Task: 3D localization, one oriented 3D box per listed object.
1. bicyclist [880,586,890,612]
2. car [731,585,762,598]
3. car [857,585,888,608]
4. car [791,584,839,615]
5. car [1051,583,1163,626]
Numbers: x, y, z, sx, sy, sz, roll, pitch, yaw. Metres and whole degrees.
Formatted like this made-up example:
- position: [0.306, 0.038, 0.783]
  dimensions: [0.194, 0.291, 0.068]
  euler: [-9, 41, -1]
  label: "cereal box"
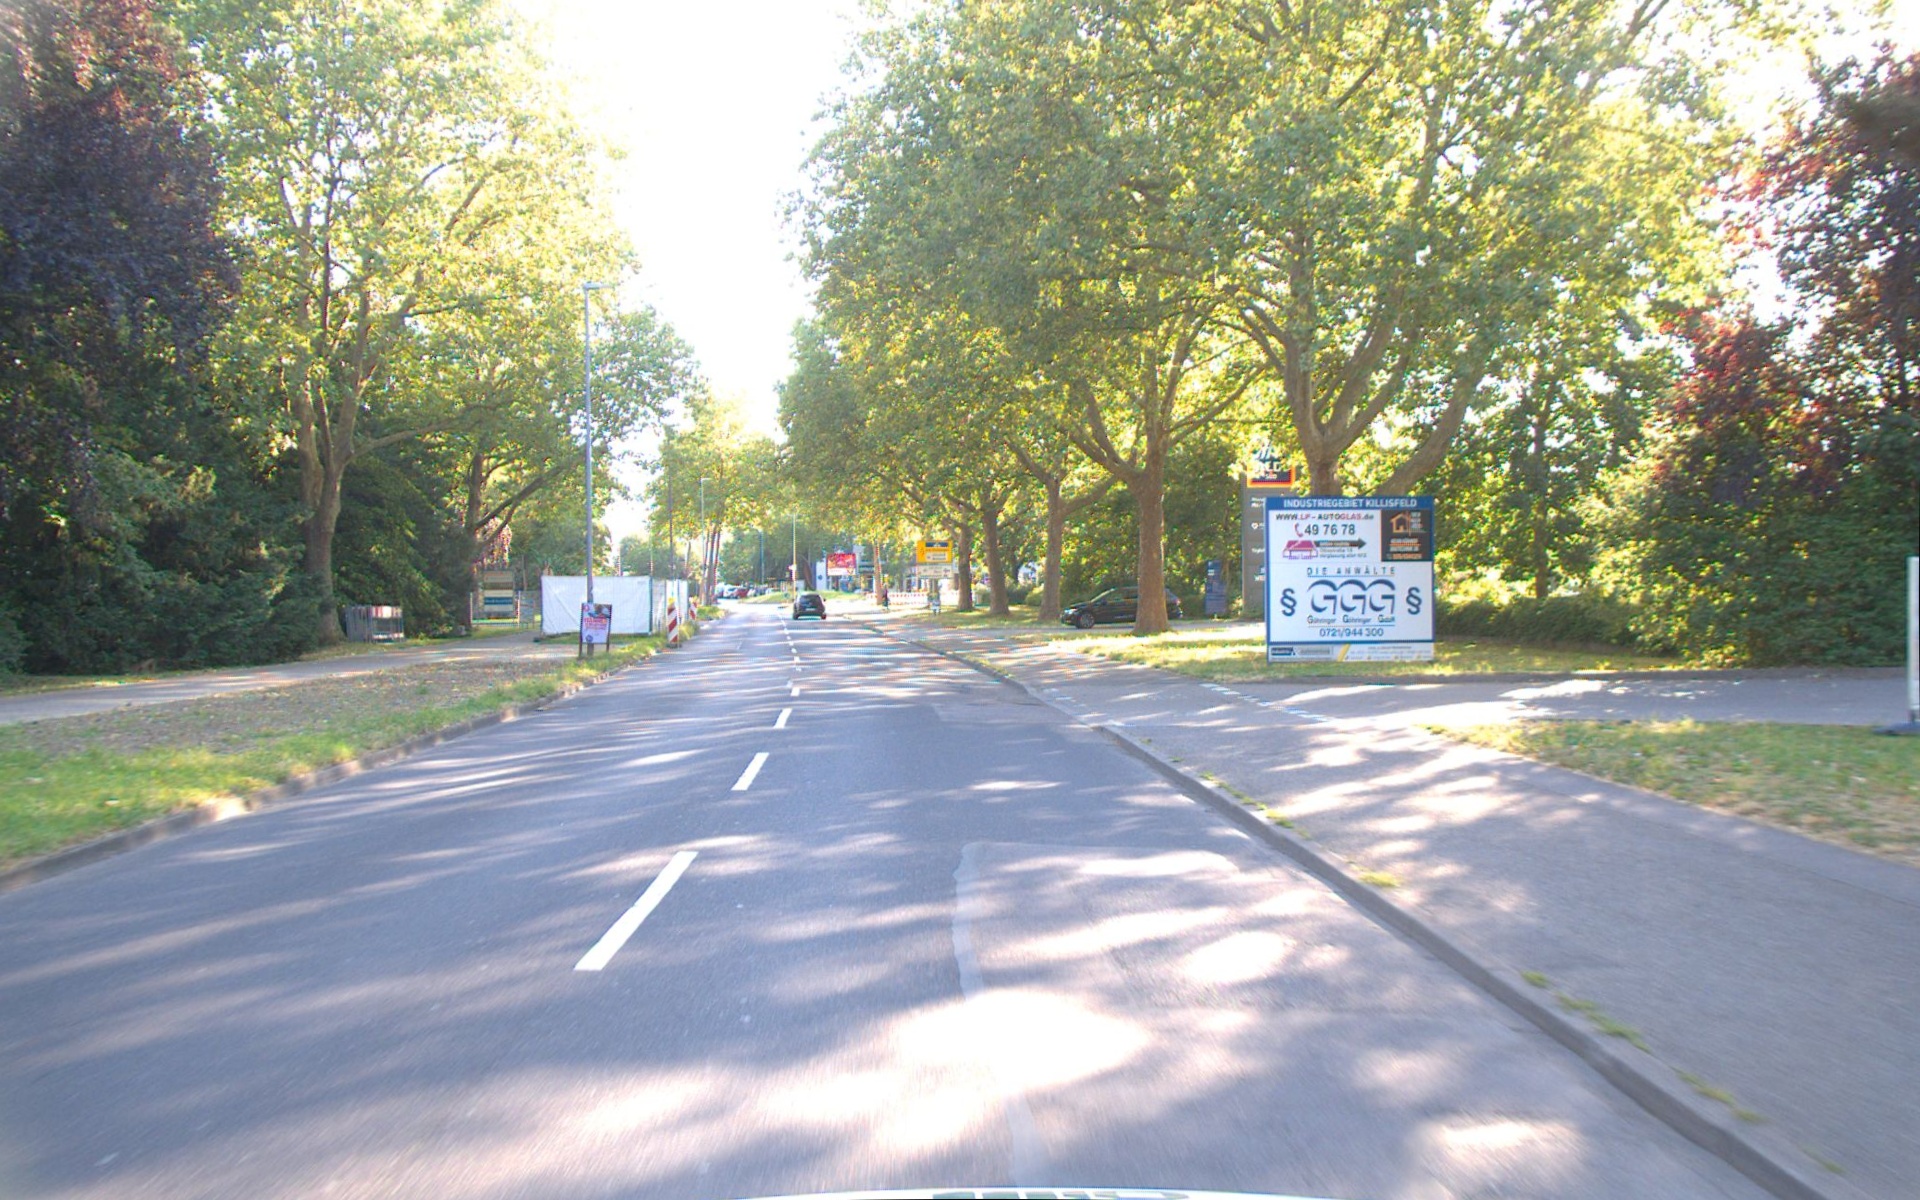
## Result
- position: [-5.155, -0.080, 113.538]
  dimensions: [0.638, 1.735, 0.870]
  euler: [1, 0, -6]
  label: "bicyclist"
- position: [-30.144, -1.249, 233.374]
  dimensions: [3.956, 1.777, 1.772]
  euler: [0, 0, -37]
  label: "car"
- position: [-8.076, -0.337, 152.952]
  dimensions: [1.951, 2.049, 4.004]
  euler: [-1, 1, 10]
  label: "car"
- position: [-7.905, -0.045, 90.273]
  dimensions: [1.800, 1.633, 3.866]
  euler: [-1, 0, 7]
  label: "car"
- position: [5.456, 0.170, 61.702]
  dimensions: [3.908, 1.468, 1.759]
  euler: [-2, 0, -4]
  label: "car"
